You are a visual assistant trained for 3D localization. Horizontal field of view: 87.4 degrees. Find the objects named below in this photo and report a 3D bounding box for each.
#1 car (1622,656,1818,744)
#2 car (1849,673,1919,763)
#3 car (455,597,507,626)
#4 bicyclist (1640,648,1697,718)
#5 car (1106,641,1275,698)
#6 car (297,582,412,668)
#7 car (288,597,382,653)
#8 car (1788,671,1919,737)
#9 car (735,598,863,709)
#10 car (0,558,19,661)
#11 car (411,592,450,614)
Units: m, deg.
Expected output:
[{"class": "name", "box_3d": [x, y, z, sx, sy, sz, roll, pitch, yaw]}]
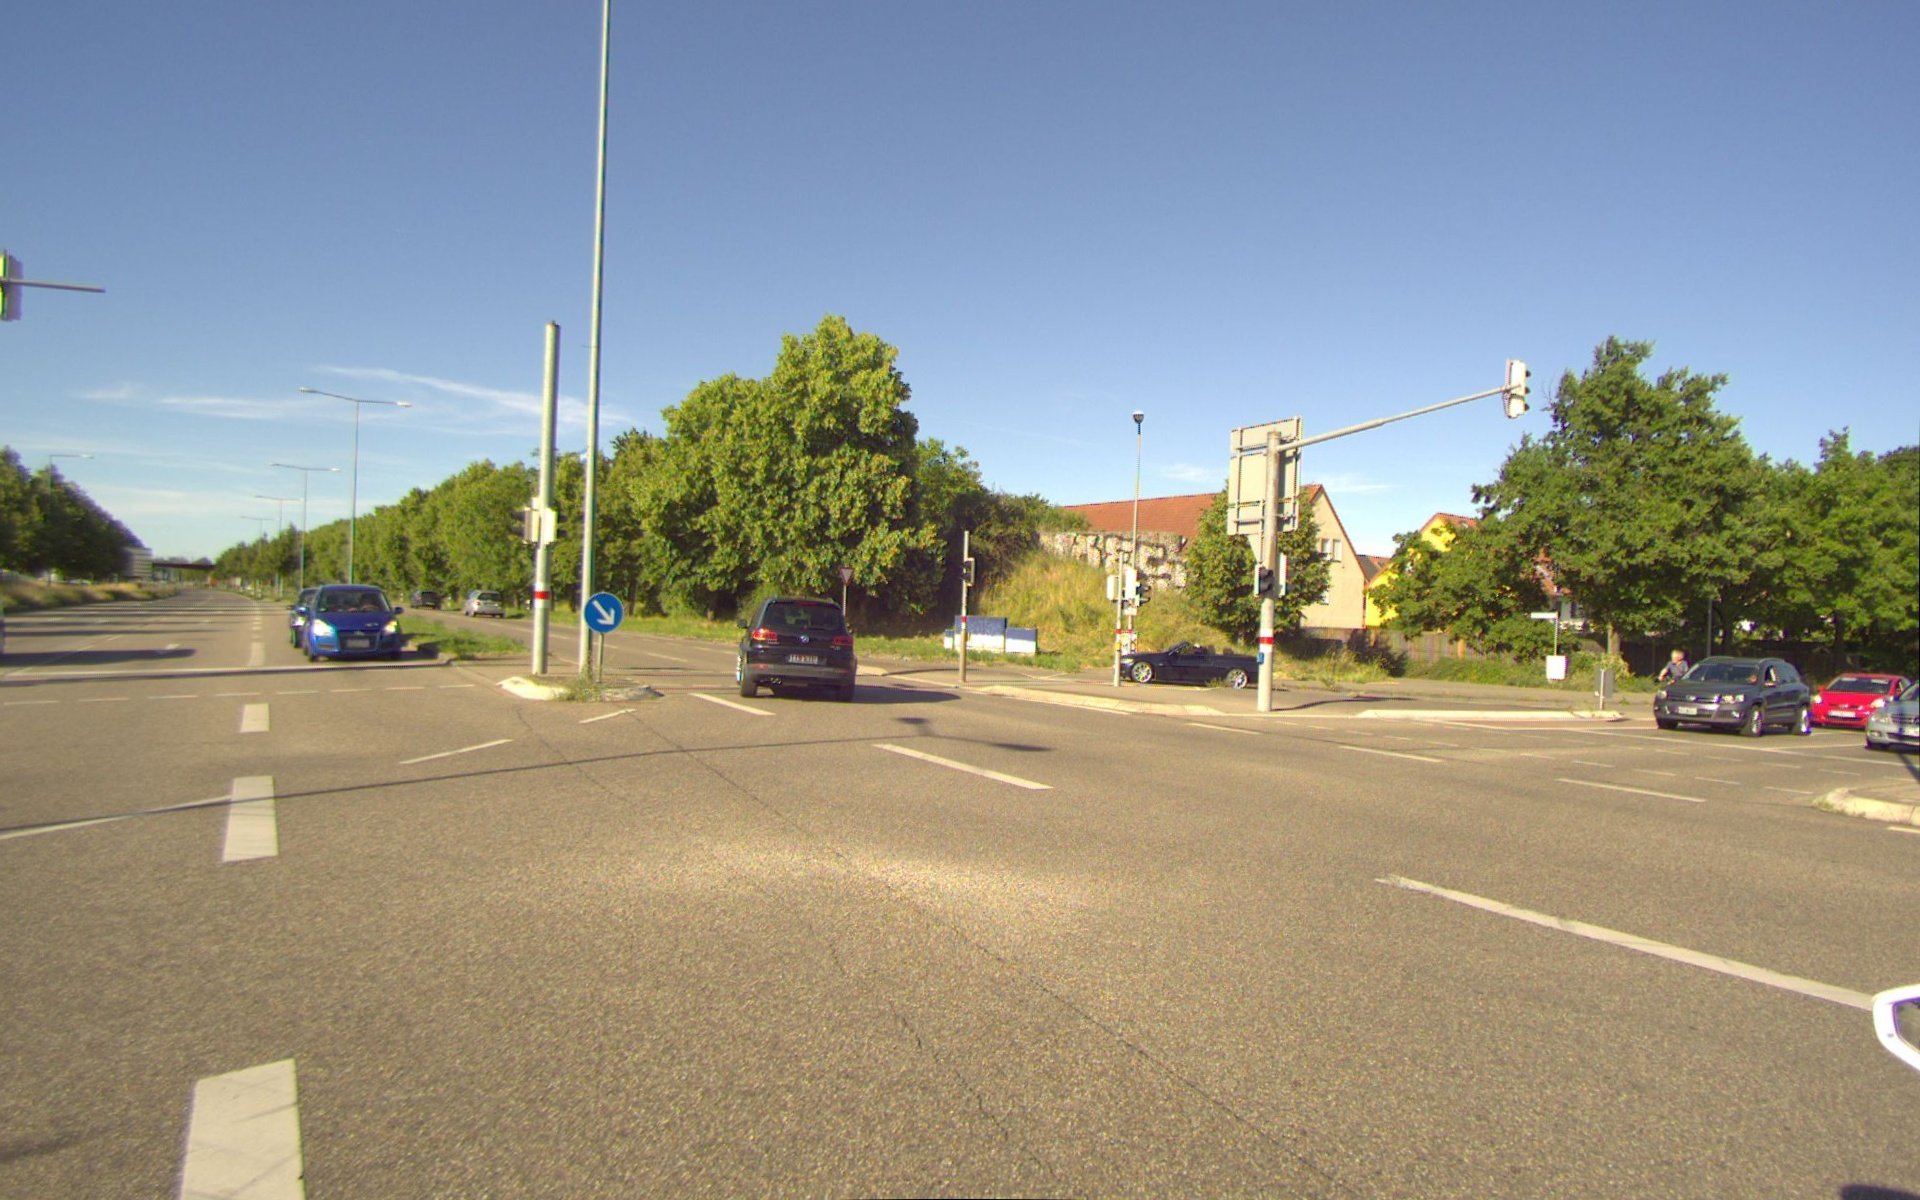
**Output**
[{"class": "car", "box_3d": [16.903, 2.167, 22.285, 4.480, 1.665, 1.983, 3, -1, -32]}, {"class": "car", "box_3d": [18.996, 2.246, 19.197, 4.480, 1.526, 1.784, 3, -1, -32]}, {"class": "car", "box_3d": [-28.388, 0.660, 59.447, 2.028, 1.638, 4.373, 0, 0, -36]}, {"class": "bicyclist", "box_3d": [18.205, 2.133, 25.806, 1.228, 1.724, 0.740, 3, -1, -33]}, {"class": "car", "box_3d": [6.795, 2.038, 30.031, 4.589, 1.326, 2.049, 4, -2, 4]}, {"class": "car", "box_3d": [-13.155, 0.478, 21.729, 1.874, 1.666, 4.000, 0, 0, -35]}, {"class": "car", "box_3d": [-16.210, 0.590, 25.973, 1.874, 1.292, 4.000, 0, 0, -35]}, {"class": "car", "box_3d": [23.291, 2.665, 26.106, 3.672, 1.502, 1.636, 3, -1, -32]}, {"class": "car", "box_3d": [-2.859, 0.842, 17.201, 1.802, 1.649, 3.989, 2, -1, -14]}, {"class": "car", "box_3d": [-19.478, 0.185, 18.747, 2.027, 2.040, 5.224, 0, 0, -35]}, {"class": "car", "box_3d": [-40.075, 0.231, 76.014, 2.028, 1.638, 4.373, 0, 0, -36]}]
